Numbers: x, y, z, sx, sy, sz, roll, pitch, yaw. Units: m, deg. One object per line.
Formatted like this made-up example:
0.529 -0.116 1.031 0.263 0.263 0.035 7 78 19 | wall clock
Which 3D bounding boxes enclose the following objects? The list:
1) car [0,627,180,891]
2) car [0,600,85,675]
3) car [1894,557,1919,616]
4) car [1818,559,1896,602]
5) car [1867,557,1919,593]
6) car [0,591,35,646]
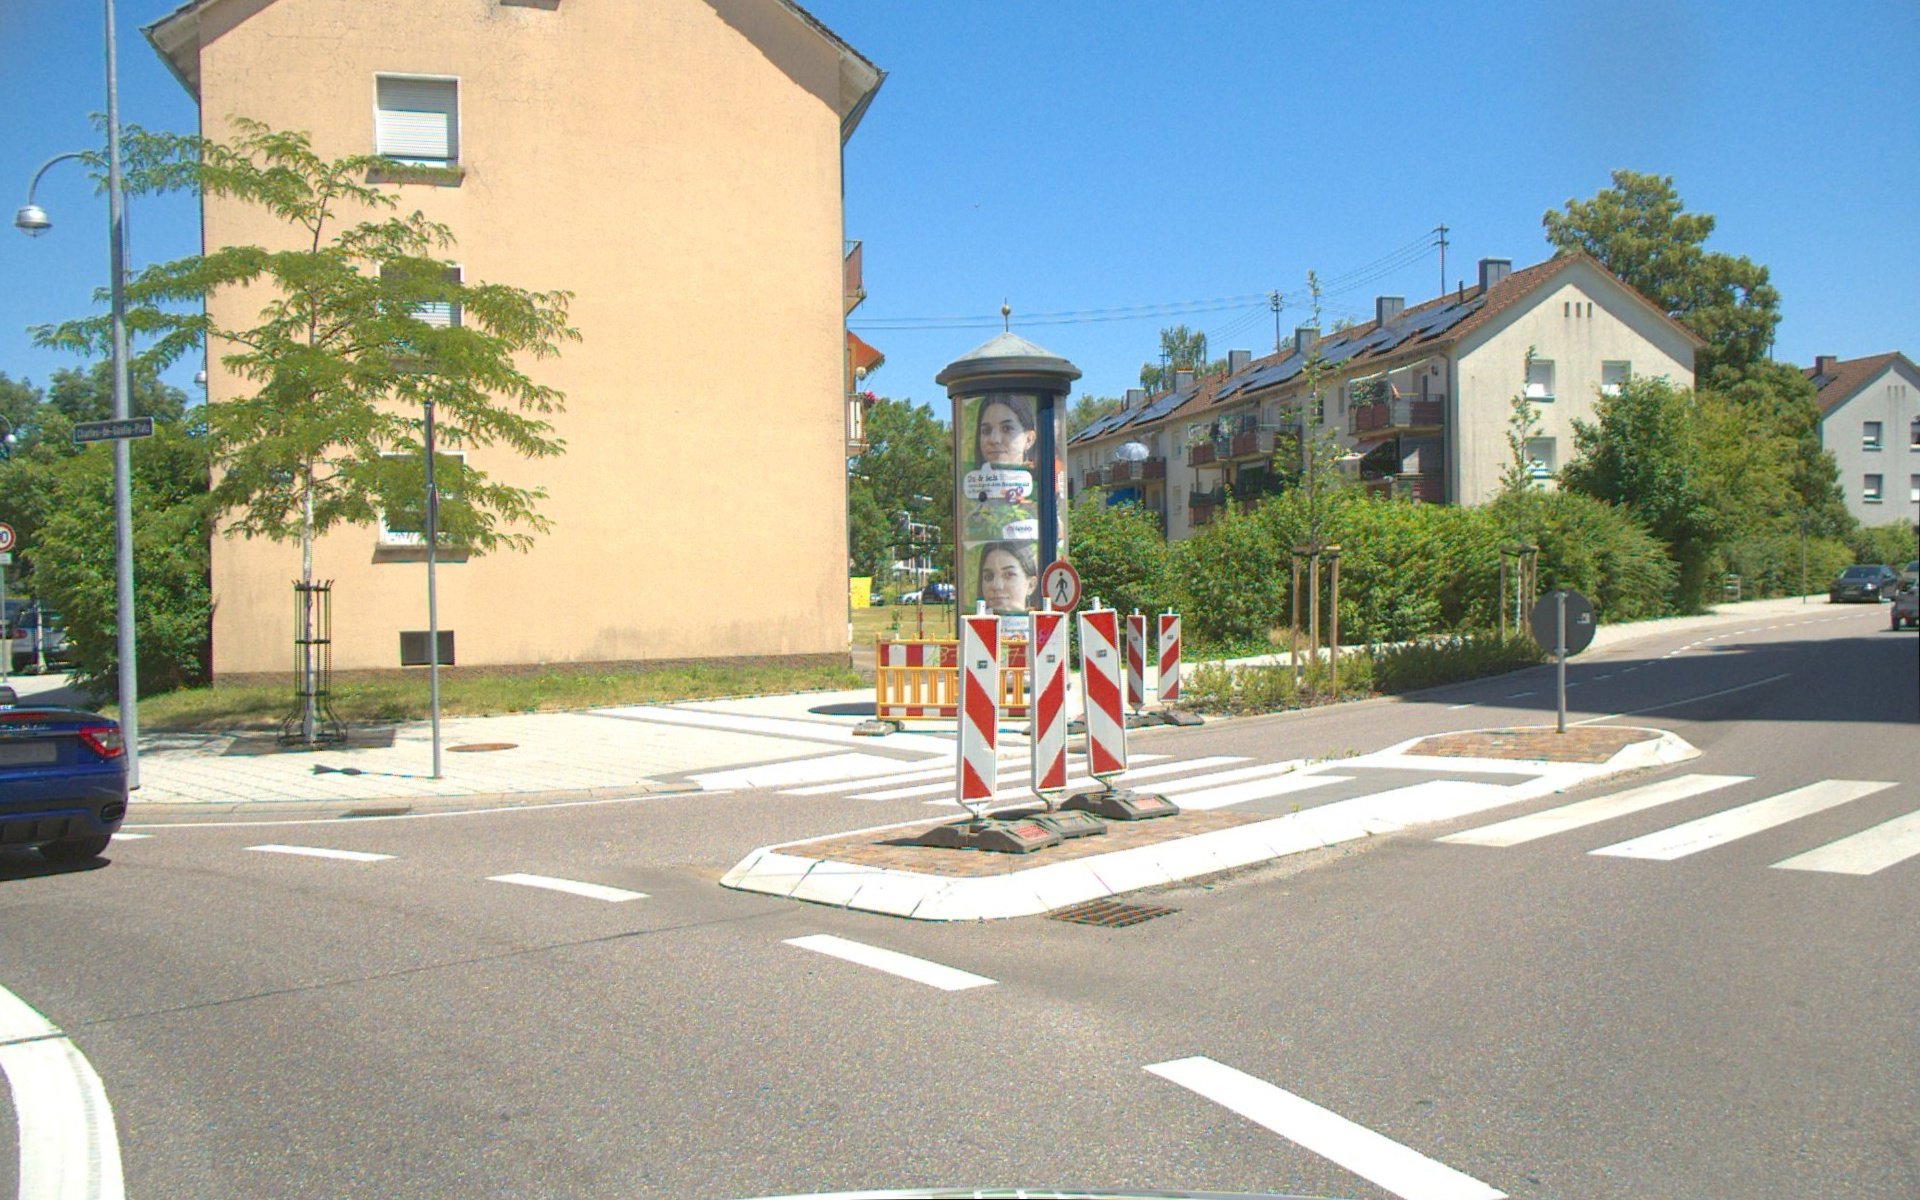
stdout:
-7.389 1.079 11.259 4.416 1.557 1.870 -4 -3 36 | car
-22.585 0.875 40.639 1.857 1.660 3.559 -1 2 -28 | car
25.746 -0.413 43.165 1.712 1.461 3.691 -3 0 40 | car
34.120 -0.748 62.878 1.714 1.461 3.687 -3 0 43 | car
41.322 -1.110 72.652 1.714 1.461 3.687 -3 0 43 | car
-37.709 0.729 64.450 2.035 2.049 3.980 -2 0 -18 | car
